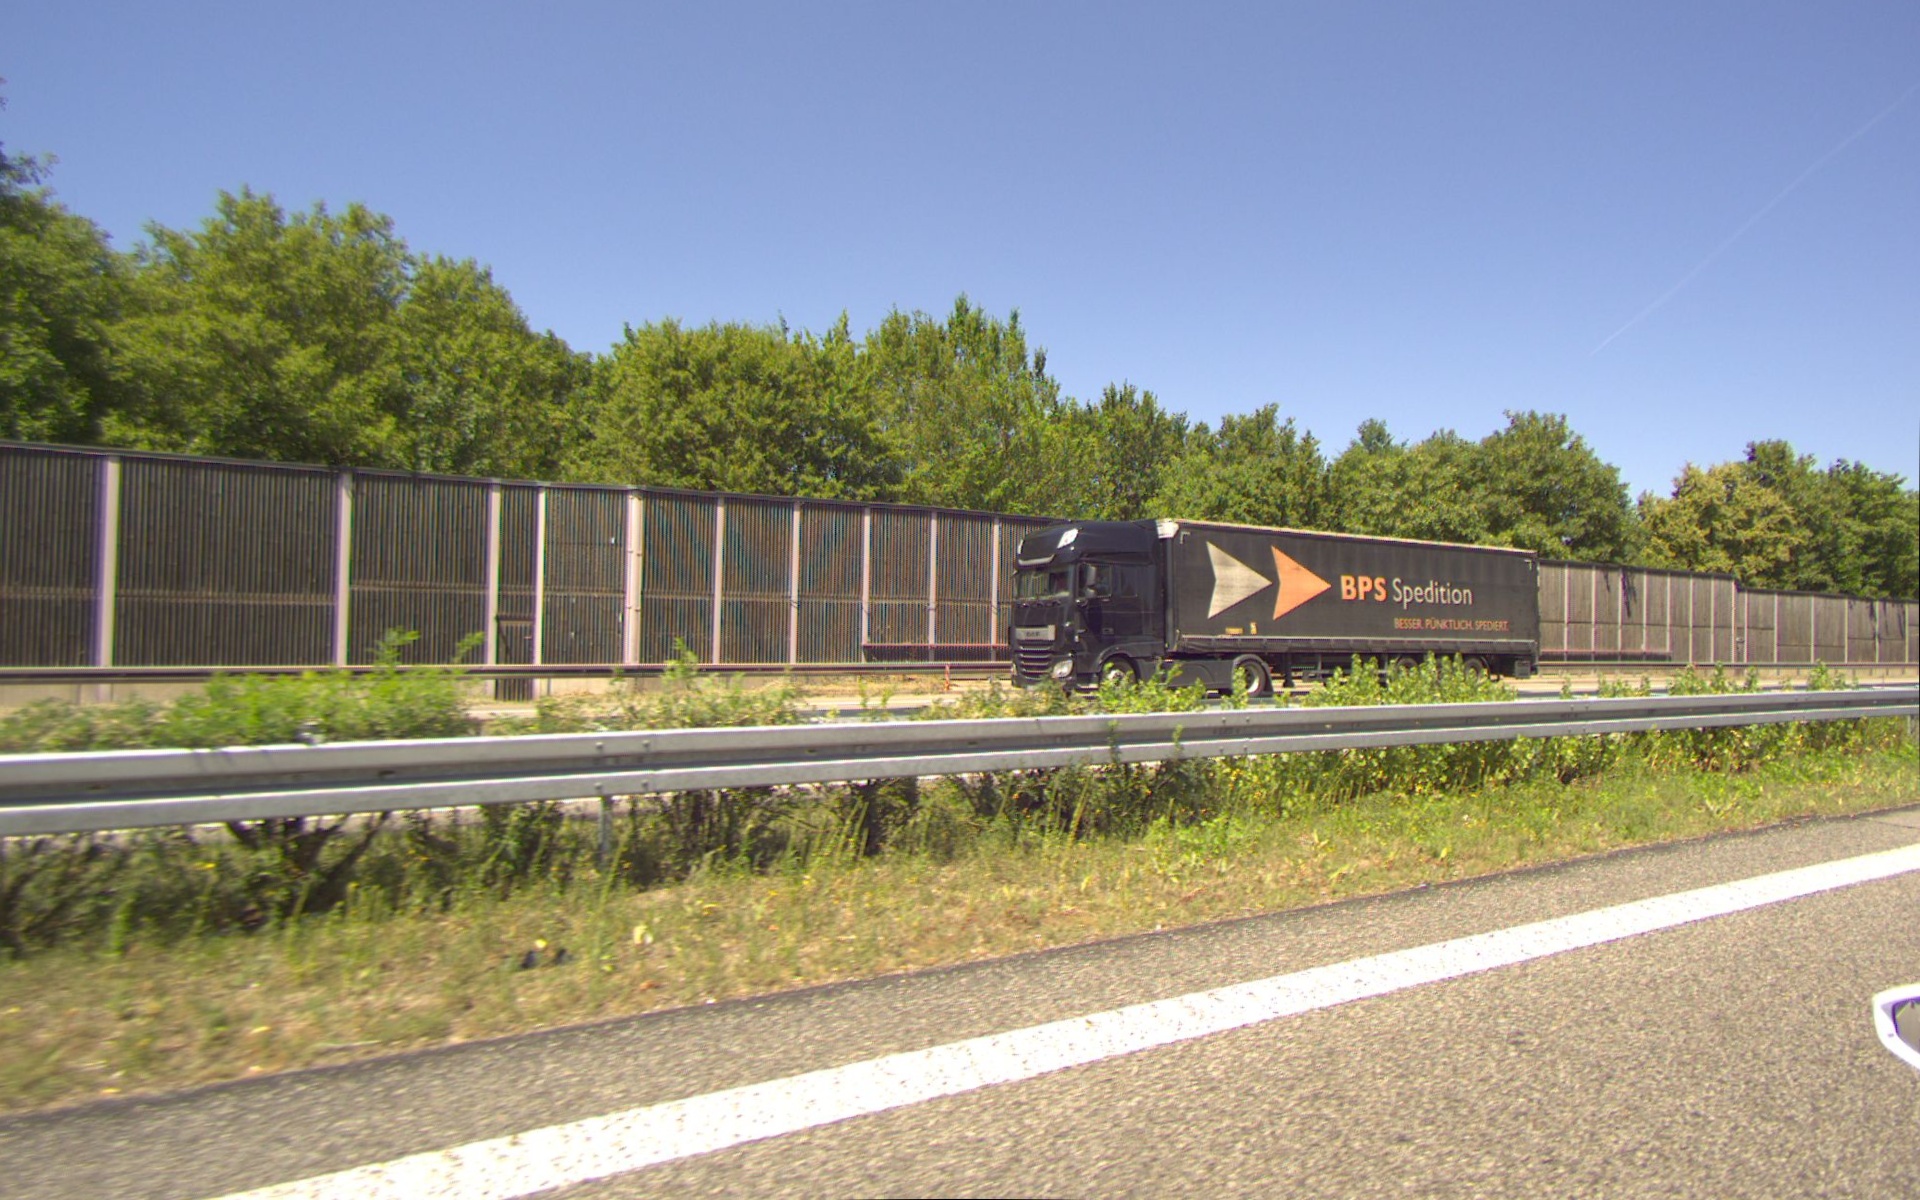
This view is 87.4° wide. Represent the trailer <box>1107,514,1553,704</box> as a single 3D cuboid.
[{"bbox_3d":[10.176,0.398,26.317,13.721,4.139,2.716,2,-2,-29],"label":"trailer"}]

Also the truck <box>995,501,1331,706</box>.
[{"bbox_3d":[4.823,0.191,23.308,7.743,4.139,2.716,2,-2,-29],"label":"truck"}]
